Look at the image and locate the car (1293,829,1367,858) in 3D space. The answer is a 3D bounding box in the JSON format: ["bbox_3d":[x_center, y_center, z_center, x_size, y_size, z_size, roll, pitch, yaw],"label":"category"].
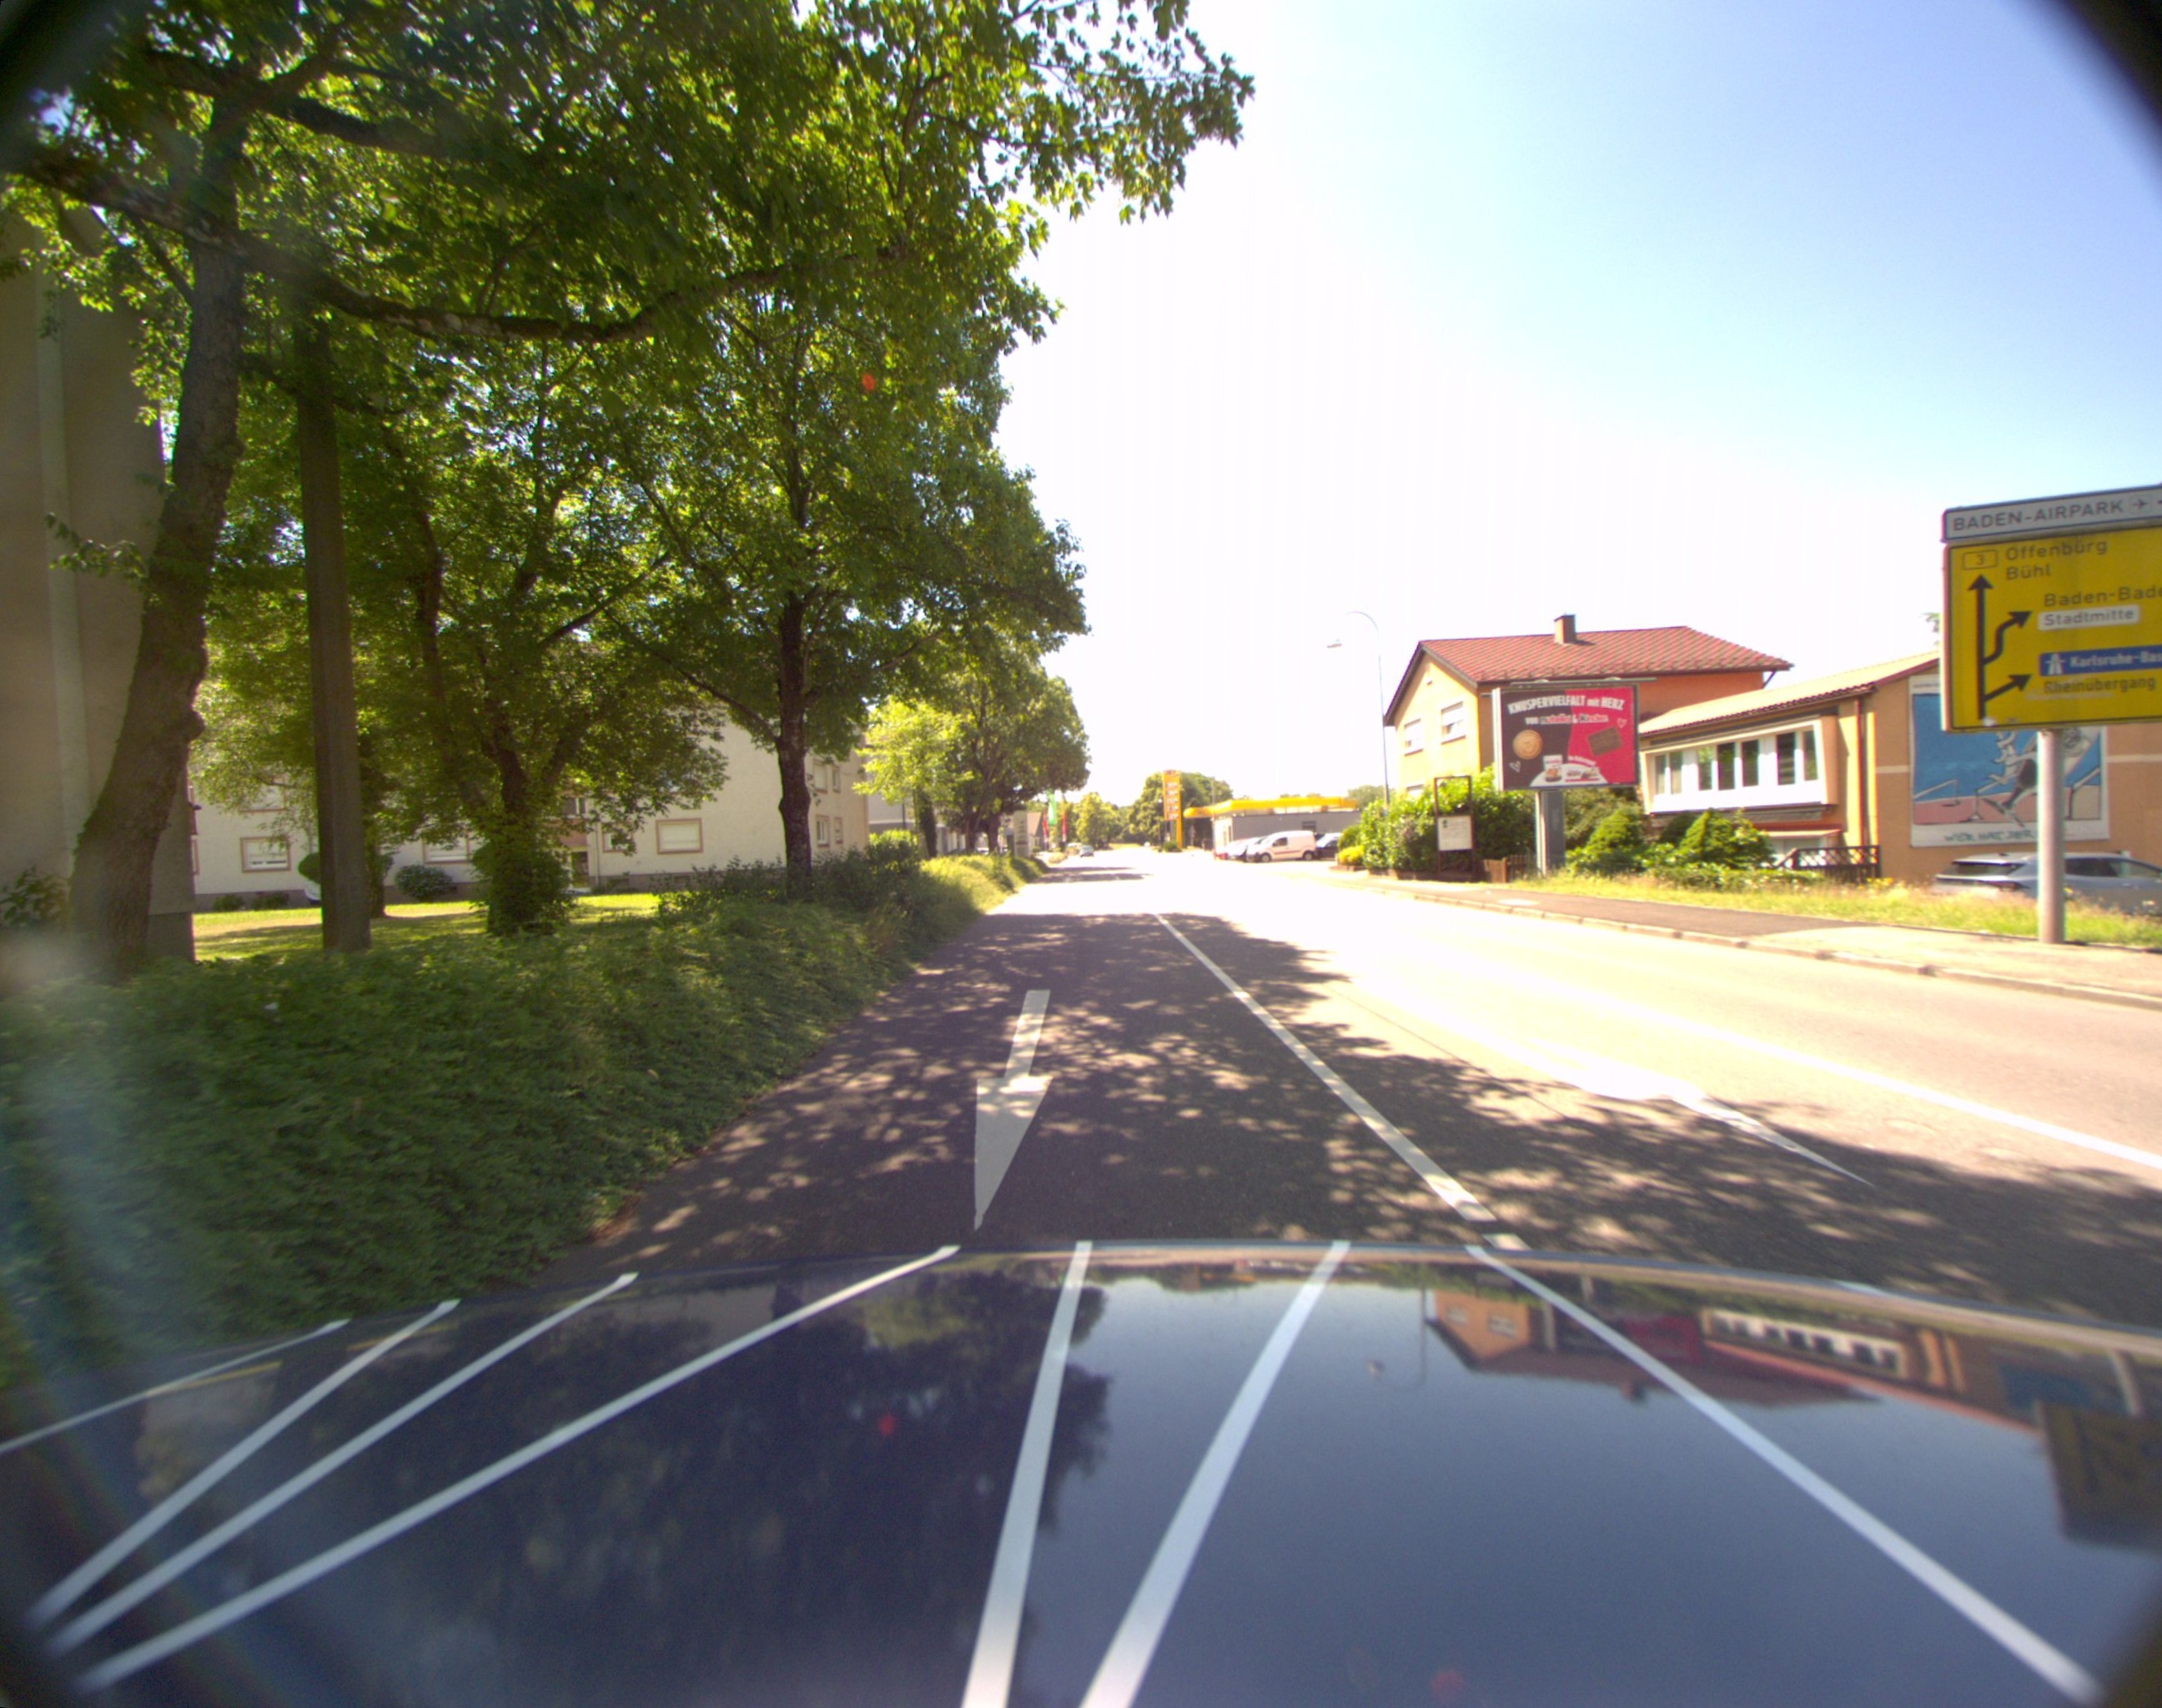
[{"bbox_3d":[16.876,-0.737,51.646,4.402,1.815,1.874,-2,1,-5],"label":"car"}]

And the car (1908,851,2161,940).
[{"bbox_3d":[19.893,0.804,15.310,4.224,1.599,1.772,-1,1,8],"label":"car"}]

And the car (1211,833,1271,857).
[{"bbox_3d":[12.814,-0.709,60.998,4.402,1.750,1.874,-2,1,-5],"label":"car"}]

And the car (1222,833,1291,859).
[{"bbox_3d":[12.419,-0.583,54.010,4.402,1.750,1.874,-2,1,-5],"label":"car"}]

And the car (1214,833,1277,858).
[{"bbox_3d":[12.629,-0.684,58.554,4.402,1.750,1.874,-2,1,-5],"label":"car"}]

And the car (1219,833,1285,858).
[{"bbox_3d":[12.654,-0.631,56.386,4.402,1.750,1.874,-2,1,-5],"label":"car"}]

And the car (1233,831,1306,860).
[{"bbox_3d":[12.241,-0.548,49.511,4.246,1.750,1.874,-2,1,-5],"label":"car"}]

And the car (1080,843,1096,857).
[{"bbox_3d":[0.815,-0.465,90.414,1.771,1.521,4.129,-2,1,0],"label":"car"}]

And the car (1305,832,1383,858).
[{"bbox_3d":[17.035,-0.569,49.395,4.402,1.555,1.874,-2,1,-5],"label":"car"}]

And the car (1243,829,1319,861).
[{"bbox_3d":[12.443,-0.562,47.357,4.191,1.858,1.874,-2,1,-5],"label":"car"}]
